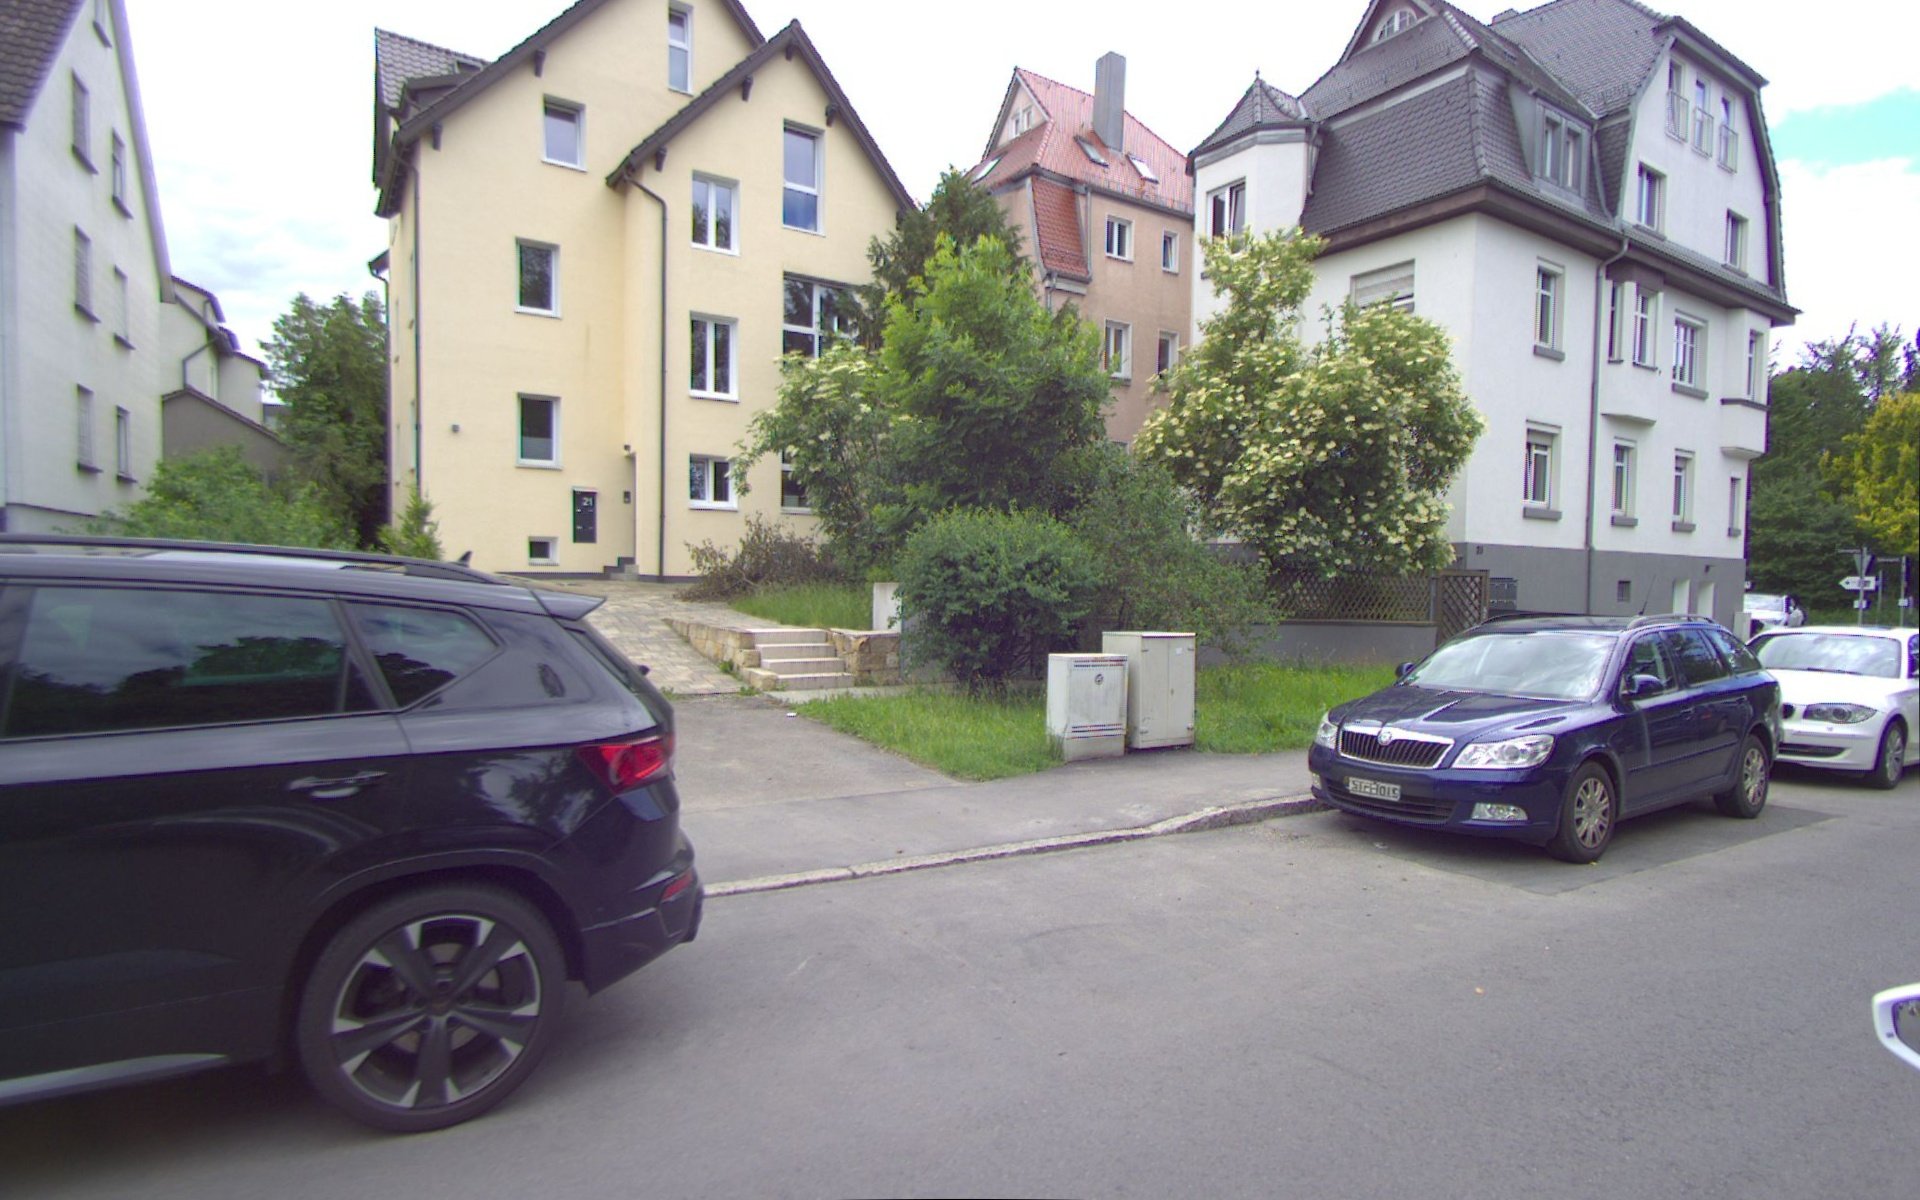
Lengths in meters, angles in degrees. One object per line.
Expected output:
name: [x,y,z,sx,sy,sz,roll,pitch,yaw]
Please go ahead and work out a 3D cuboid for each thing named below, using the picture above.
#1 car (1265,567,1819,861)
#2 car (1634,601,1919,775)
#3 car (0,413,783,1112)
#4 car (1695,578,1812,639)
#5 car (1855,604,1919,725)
car: [4.532,0.645,7.518,4.765,1.594,1.716,1,0,-35]
car: [8.967,0.799,10.325,4.677,1.408,1.714,2,0,-34]
car: [-2.735,0.359,2.936,4.030,1.603,1.653,2,0,-30]
car: [23.921,0.277,30.216,4.563,1.553,1.888,2,4,-42]
car: [13.735,0.869,13.481,4.029,1.489,1.632,2,0,-34]
